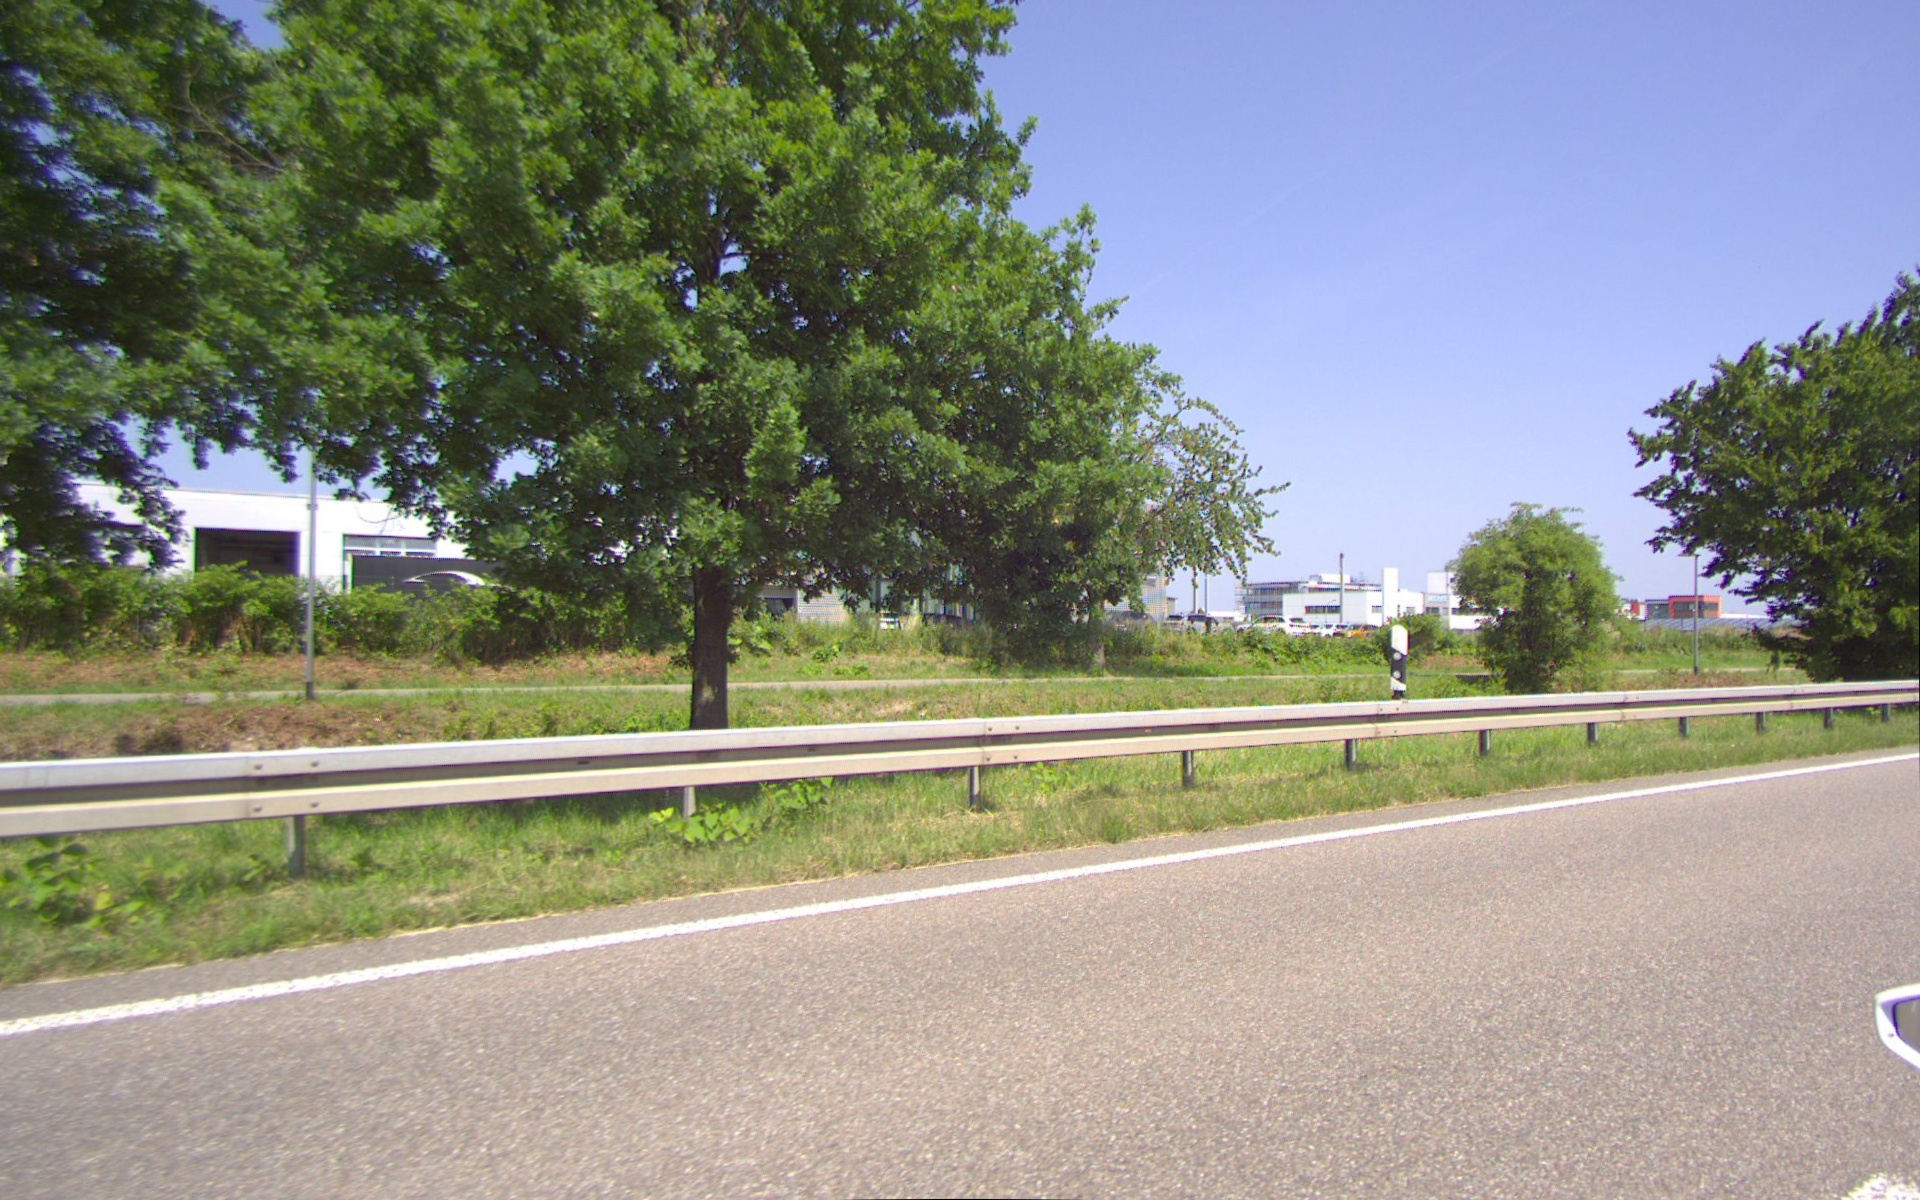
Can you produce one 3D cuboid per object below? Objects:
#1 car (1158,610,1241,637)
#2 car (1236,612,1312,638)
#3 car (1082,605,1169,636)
[{"bbox_3d":[13.440,1.337,56.340,4.608,1.456,1.740,2,-3,-29],"label":"car"},{"bbox_3d":[18.551,1.519,59.434,1.608,1.456,4.198,2,-3,-35],"label":"car"},{"bbox_3d":[8.932,1.148,54.187,4.609,1.557,1.739,2,-3,-30],"label":"car"}]
